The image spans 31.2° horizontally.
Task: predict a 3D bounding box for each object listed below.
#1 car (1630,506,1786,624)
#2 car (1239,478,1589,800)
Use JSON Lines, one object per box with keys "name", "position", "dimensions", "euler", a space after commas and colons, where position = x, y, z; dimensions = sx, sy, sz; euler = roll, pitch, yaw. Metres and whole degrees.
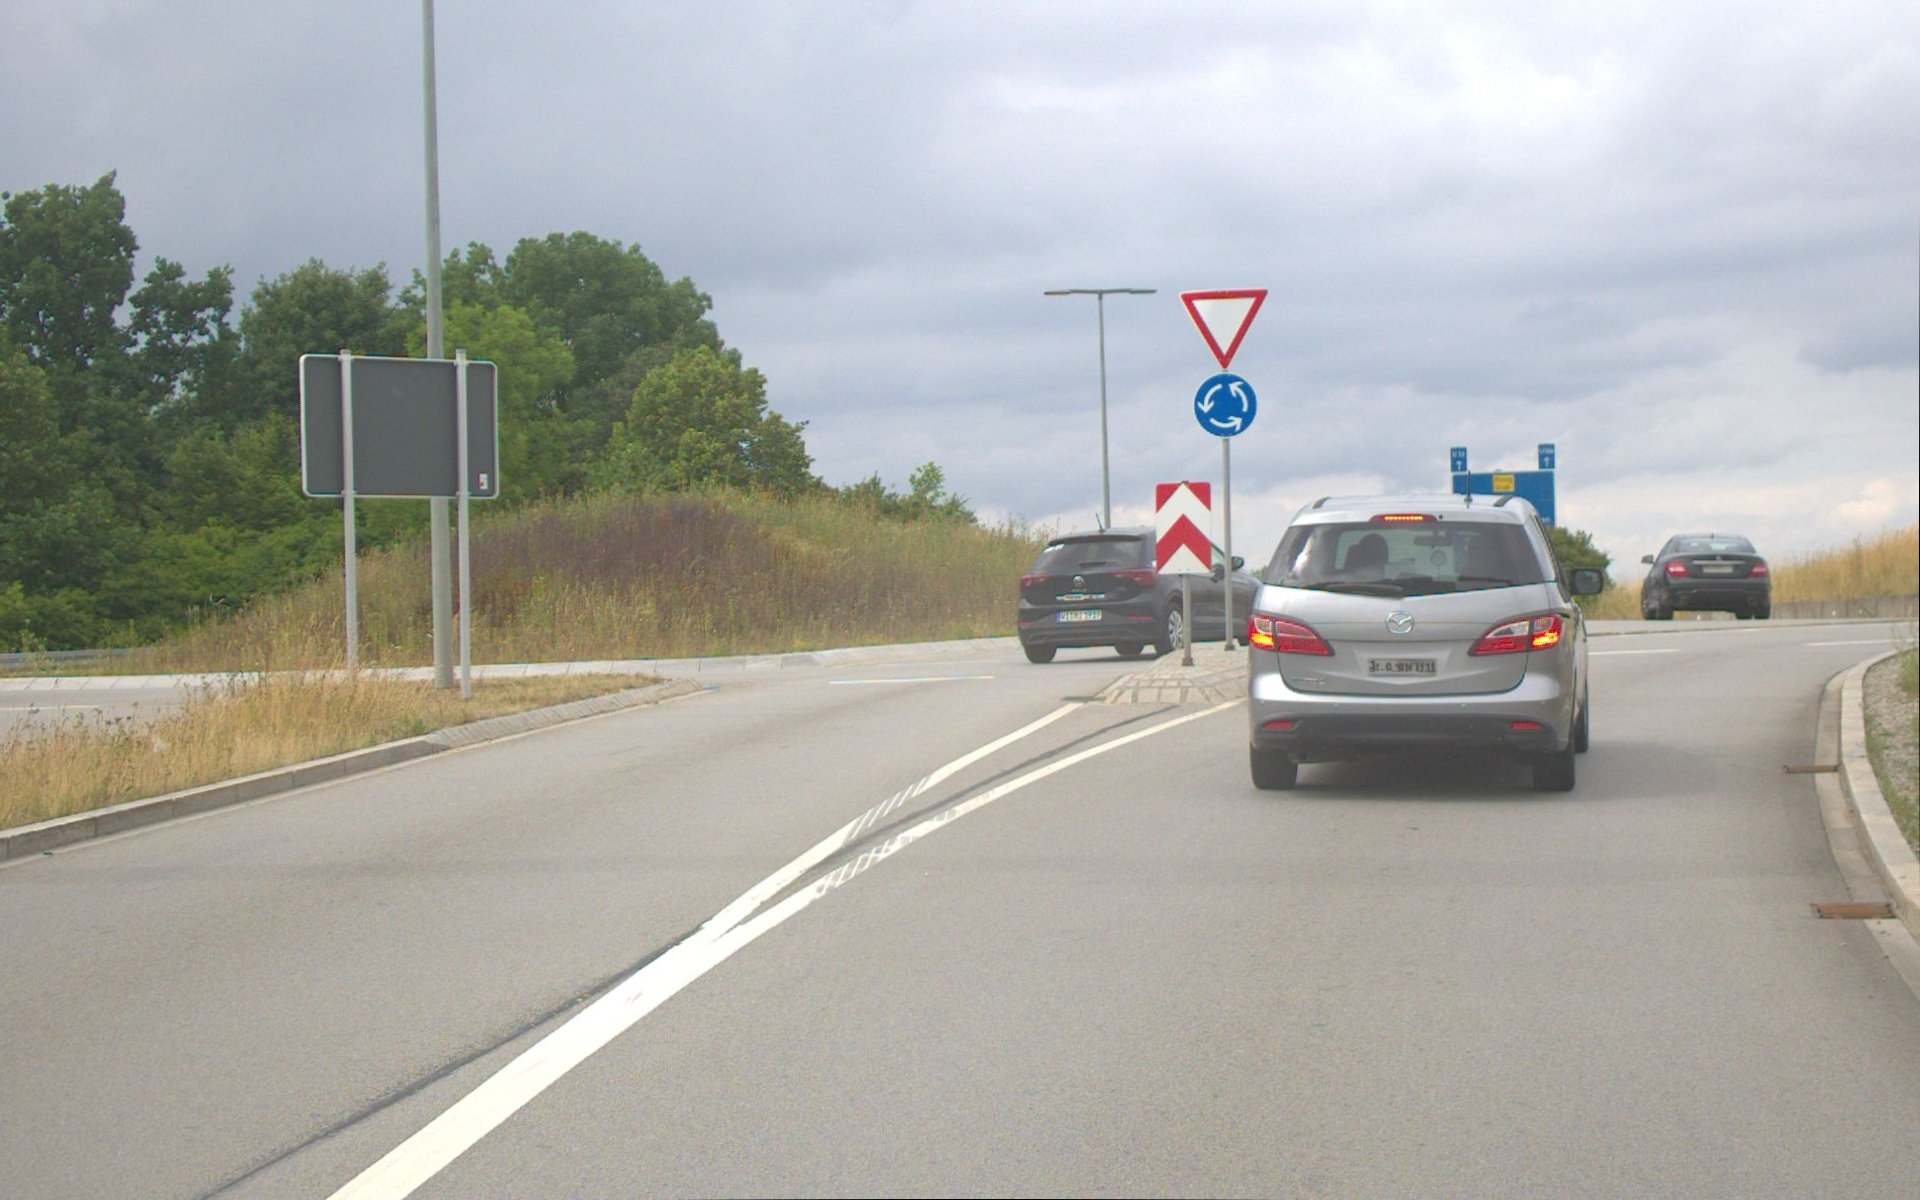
{"name": "car", "position": [12.031, -0.547, 55.496], "dimensions": [1.896, 1.777, 4.156], "euler": [-2, 0, 5]}
{"name": "car", "position": [2.630, 0.141, 19.699], "dimensions": [1.768, 1.611, 3.921], "euler": [-1, 2, 9]}
